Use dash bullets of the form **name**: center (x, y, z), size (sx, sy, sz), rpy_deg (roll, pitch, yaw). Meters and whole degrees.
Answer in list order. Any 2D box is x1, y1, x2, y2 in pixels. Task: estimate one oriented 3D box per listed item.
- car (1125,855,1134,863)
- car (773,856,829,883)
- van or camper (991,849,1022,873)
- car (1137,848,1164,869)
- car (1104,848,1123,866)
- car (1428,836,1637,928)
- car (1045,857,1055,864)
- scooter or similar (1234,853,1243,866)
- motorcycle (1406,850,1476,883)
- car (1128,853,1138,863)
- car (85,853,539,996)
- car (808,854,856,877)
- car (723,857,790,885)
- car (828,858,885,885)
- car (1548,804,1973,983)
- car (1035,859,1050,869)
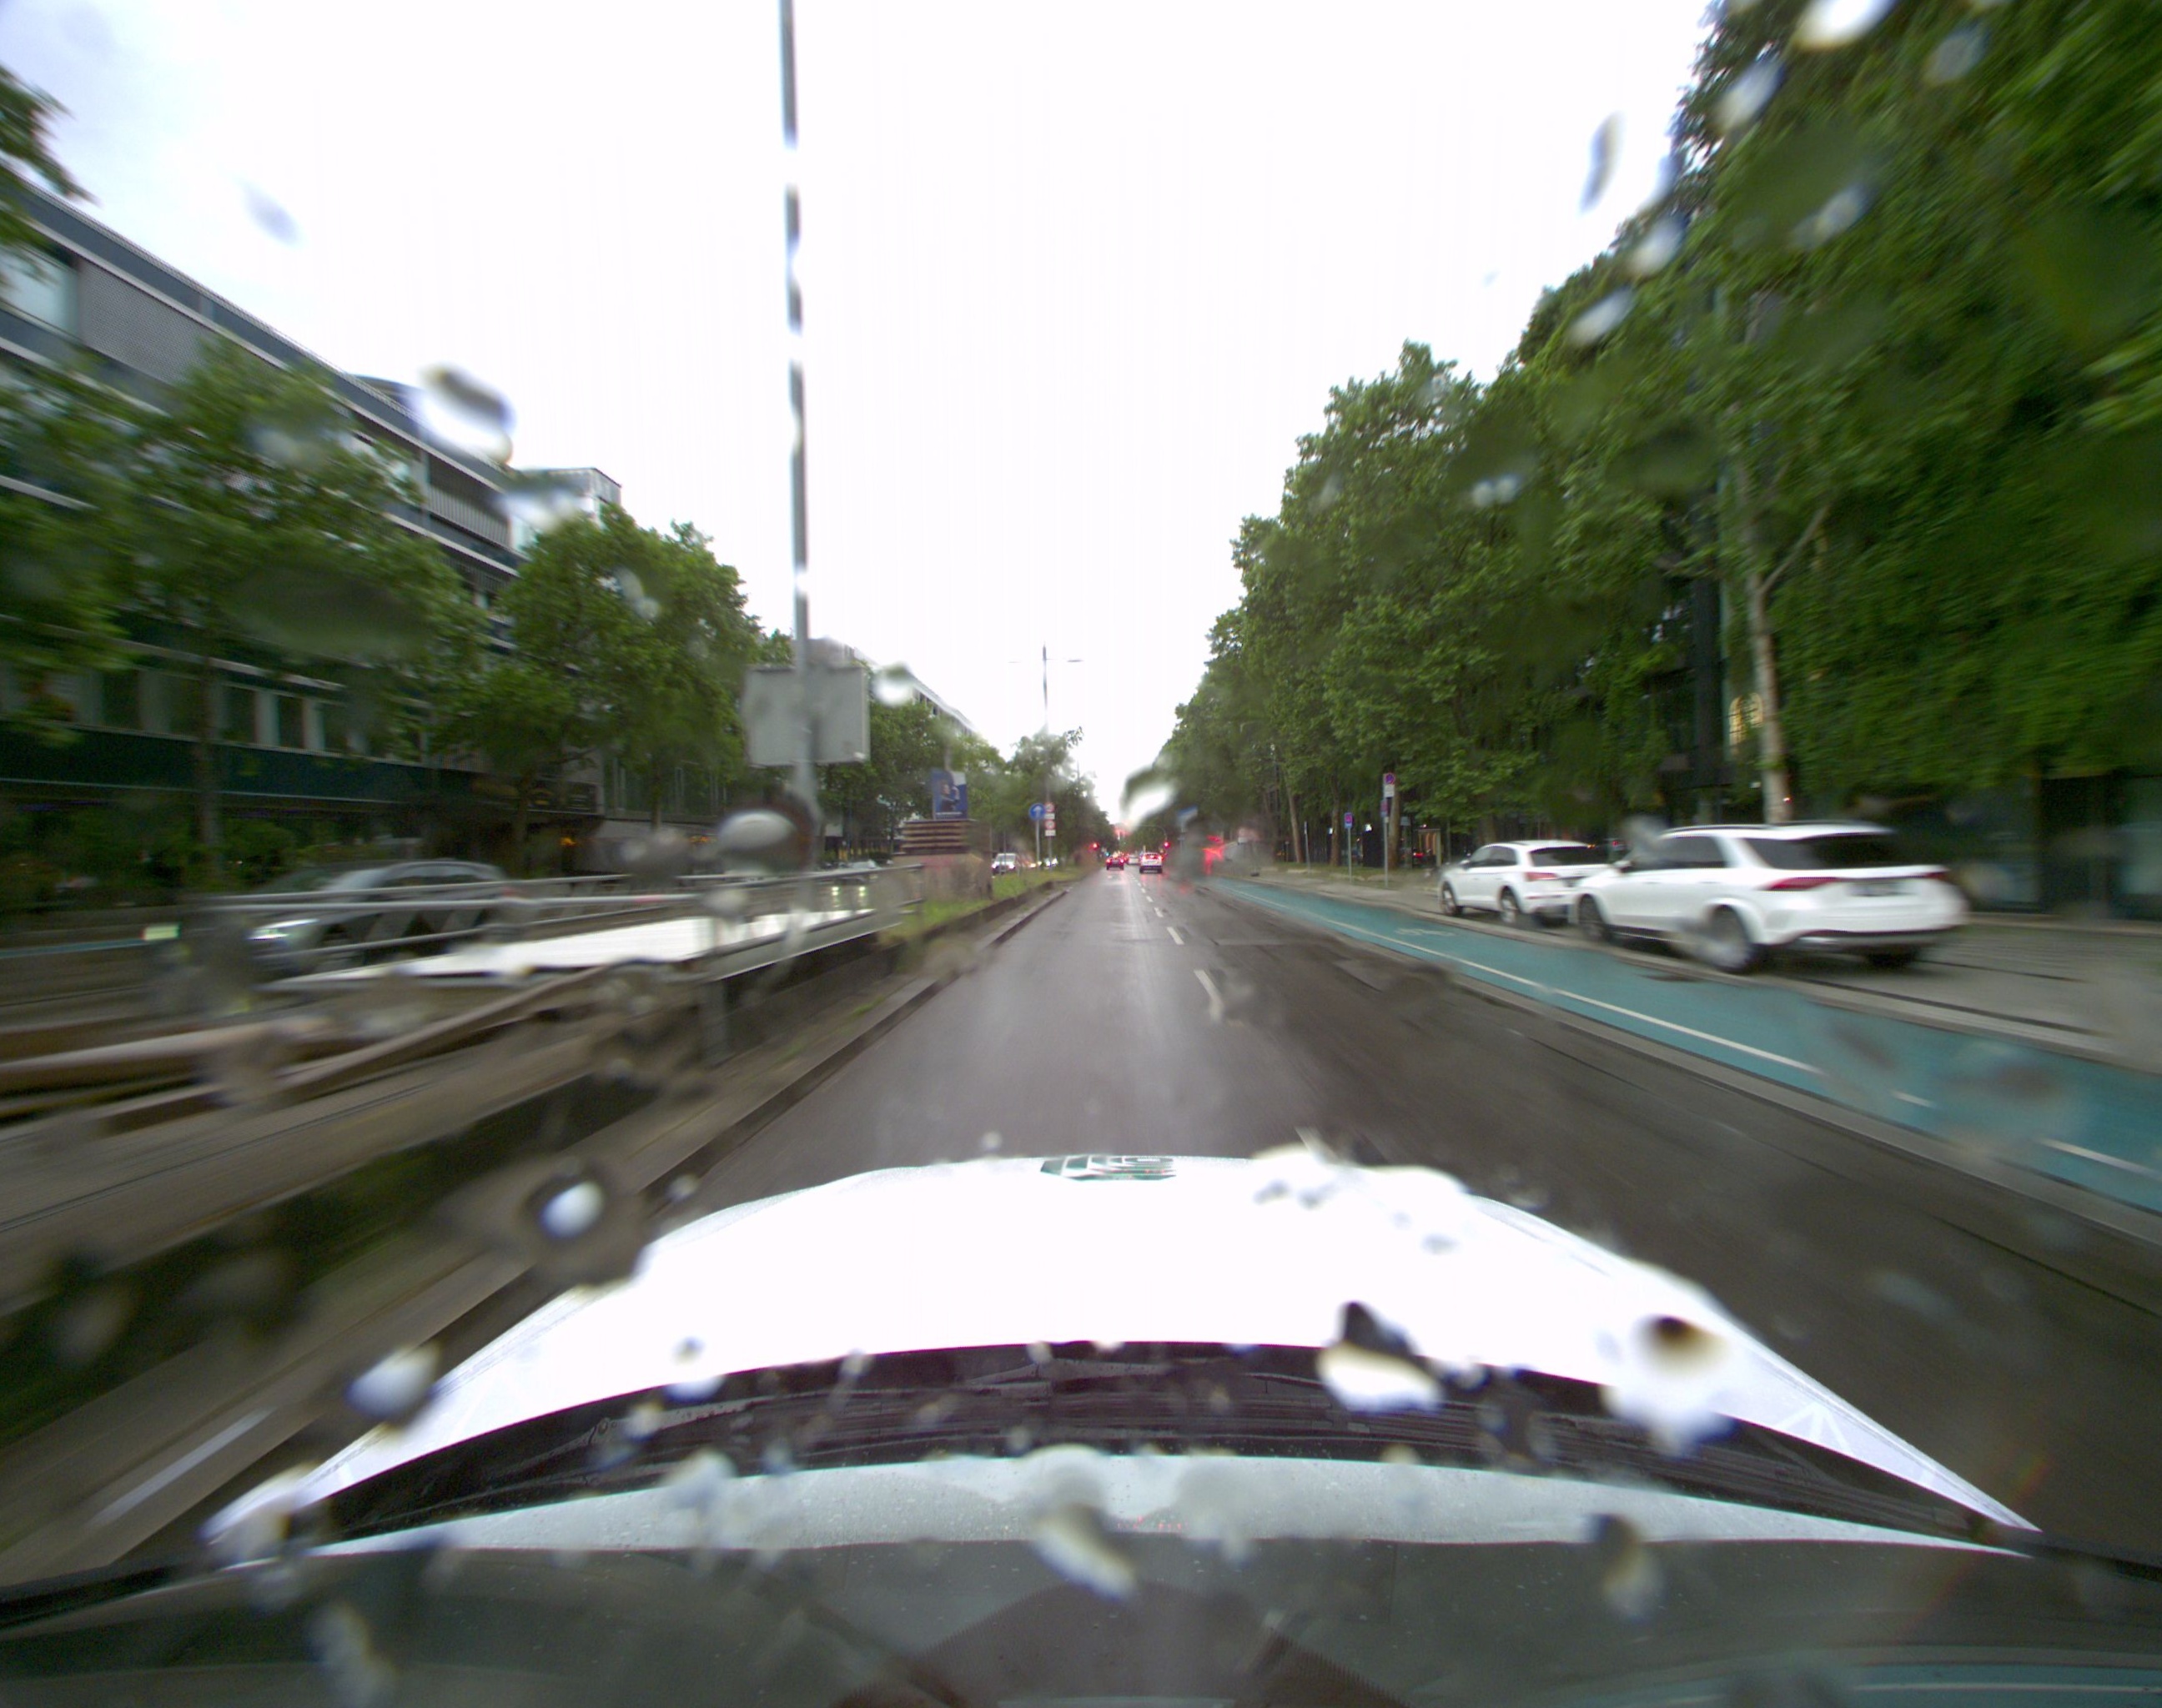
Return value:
- **car**: center (8.755, 0.890, 147.021), size (1.614, 1.374, 4.002), rpy_deg (-1, 0, 2)
- **car**: center (-16.969, 0.939, 49.572), size (1.830, 1.508, 4.002), rpy_deg (-1, 0, 2)
- **van or camper**: center (-6.352, 0.547, 69.783), size (1.986, 1.913, 5.254), rpy_deg (-1, 0, 2)
- **car**: center (5.776, 0.329, 68.416), size (1.986, 1.655, 4.891), rpy_deg (-1, 0, 2)
- **car**: center (3.440, 0.299, 86.241), size (1.986, 1.833, 4.002), rpy_deg (-1, 0, 2)
- **car**: center (9.151, 0.488, 17.061), size (1.837, 1.632, 4.788), rpy_deg (-1, 0, 1)
- **car**: center (-6.318, 1.374, 165.483), size (1.608, 1.394, 4.186), rpy_deg (-1, 0, 2)
- **scooter or similar**: center (15.292, 0.508, 78.901), size (0.377, 1.228, 1.086), rpy_deg (-1, 0, 38)
- **motorcycle**: center (14.301, 0.478, 32.392), size (2.299, 1.270, 1.053), rpy_deg (1, 0, 1)
- **car**: center (8.608, 0.604, 135.513), size (1.614, 1.666, 4.002), rpy_deg (-1, 0, 2)
- **car**: center (-10.169, 0.791, 11.434), size (1.906, 1.552, 4.545), rpy_deg (-1, 0, 2)
- **car**: center (-16.895, 0.738, 55.414), size (1.686, 1.409, 4.458), rpy_deg (-1, 0, 2)
- **car**: center (-17.494, 0.878, 44.104), size (1.553, 1.353, 4.686), rpy_deg (0, 1, 2)
- **car**: center (-12.936, 0.964, 47.277), size (1.961, 1.409, 4.955), rpy_deg (-1, 0, -1)
- **car**: center (8.664, 0.405, 11.199), size (1.835, 1.838, 5.100), rpy_deg (-2, 0, 4)
- **car**: center (-5.758, 1.541, 121.570), size (1.836, 1.429, 3.645), rpy_deg (-1, 0, 2)
